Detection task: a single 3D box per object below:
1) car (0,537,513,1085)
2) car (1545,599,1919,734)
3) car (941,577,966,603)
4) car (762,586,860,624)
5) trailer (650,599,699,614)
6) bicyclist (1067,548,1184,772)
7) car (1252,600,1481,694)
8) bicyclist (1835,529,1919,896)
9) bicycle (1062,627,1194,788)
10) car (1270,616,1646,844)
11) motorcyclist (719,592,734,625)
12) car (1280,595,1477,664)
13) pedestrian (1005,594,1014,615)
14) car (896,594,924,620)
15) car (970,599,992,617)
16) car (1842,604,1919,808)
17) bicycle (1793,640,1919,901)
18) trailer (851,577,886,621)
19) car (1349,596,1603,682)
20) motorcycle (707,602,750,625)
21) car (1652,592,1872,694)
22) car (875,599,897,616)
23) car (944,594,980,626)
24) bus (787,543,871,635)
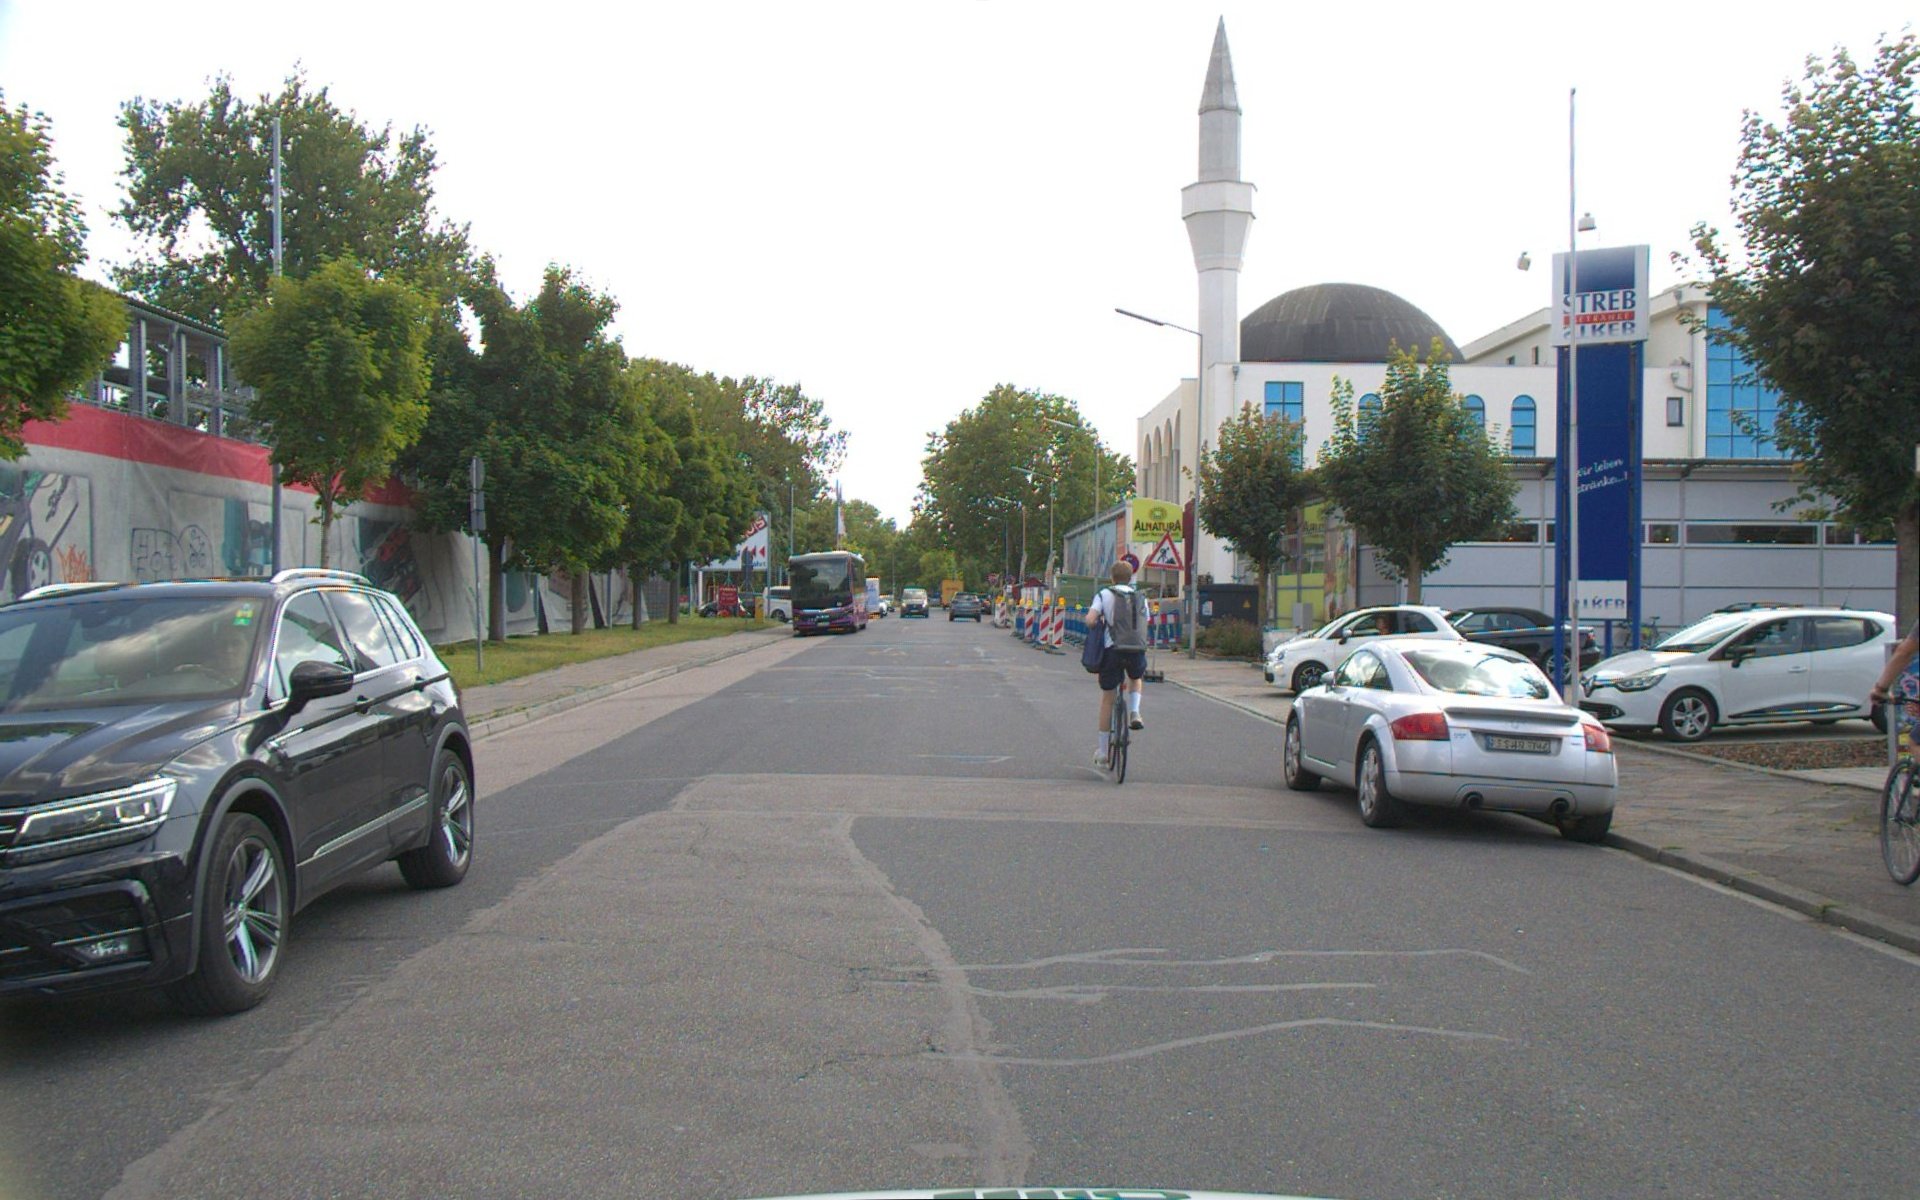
[{"bbox_3d":[-3.463,0.682,7.193,1.836,1.648,4.293,-4,0,-1],"label":"car"},{"bbox_3d":[9.262,0.751,19.767,3.874,1.435,1.795,-1,0,-4],"label":"car"},{"bbox_3d":[-0.698,-1.008,165.796,2.155,2.623,6.400,0,0,-3],"label":"car"},{"bbox_3d":[-7.888,0.265,87.974,4.895,1.983,1.993,1,0,5],"label":"car"},{"bbox_3d":[-24.064,0.529,139.255,3.736,1.211,1.716,1,0,5],"label":"trailer"},{"bbox_3d":[1.409,0.500,14.270,0.790,1.824,1.206,2,-1,-2],"label":"bicyclist"},{"bbox_3d":[6.855,0.773,28.143,3.525,1.495,1.689,-1,0,3],"label":"car"},{"bbox_3d":[5.448,0.581,9.055,0.778,1.944,0.829,-3,-1,1],"label":"bicyclist"},{"bbox_3d":[1.403,0.869,14.344,0.782,1.201,2.626,2,0,-1],"label":"bicycle"},{"bbox_3d":[3.721,0.894,13.102,1.628,1.363,3.984,4,0,-1],"label":"car"},{"bbox_3d":[-12.472,0.444,88.290,0.660,1.753,0.994,0,0,0],"label":"motorcyclist"},{"bbox_3d":[9.667,0.660,38.436,4.022,1.489,1.988,-1,0,-4],"label":"car"},{"bbox_3d":[3.673,0.325,122.735,0.667,1.560,1.130,1,-1,-1],"label":"pedestrian"},{"bbox_3d":[-3.324,0.444,110.348,1.830,1.658,4.126,0,0,-2],"label":"car"},{"bbox_3d":[1.761,0.655,137.496,1.771,1.415,4.588,3,0,1],"label":"car"},{"bbox_3d":[9.070,0.754,12.162,4.221,1.469,1.845,-1,0,-3],"label":"car"},{"bbox_3d":[5.458,0.919,9.076,0.776,1.317,1.882,-3,0,1],"label":"bicycle"},{"bbox_3d":[-6.151,-0.062,111.681,2.096,2.832,4.702,-2,0,-1],"label":"trailer"},{"bbox_3d":[9.442,0.693,30.444,4.097,1.455,1.805,-1,0,-4],"label":"car"},{"bbox_3d":[-12.353,0.707,88.281,2.176,1.235,0.994,0,0,0],"label":"motorcycle"},{"bbox_3d":[13.156,0.648,27.034,4.349,1.435,1.662,-2,1,-41],"label":"car"},{"bbox_3d":[-6.586,0.643,147.135,1.674,1.445,4.331,-2,0,1],"label":"car"},{"bbox_3d":[0.090,0.580,97.706,1.922,1.847,4.273,0,0,-3],"label":"car"},{"bbox_3d":[-5.519,-0.448,71.734,2.609,3.482,13.216,-3,0,-1],"label":"bus"}]
